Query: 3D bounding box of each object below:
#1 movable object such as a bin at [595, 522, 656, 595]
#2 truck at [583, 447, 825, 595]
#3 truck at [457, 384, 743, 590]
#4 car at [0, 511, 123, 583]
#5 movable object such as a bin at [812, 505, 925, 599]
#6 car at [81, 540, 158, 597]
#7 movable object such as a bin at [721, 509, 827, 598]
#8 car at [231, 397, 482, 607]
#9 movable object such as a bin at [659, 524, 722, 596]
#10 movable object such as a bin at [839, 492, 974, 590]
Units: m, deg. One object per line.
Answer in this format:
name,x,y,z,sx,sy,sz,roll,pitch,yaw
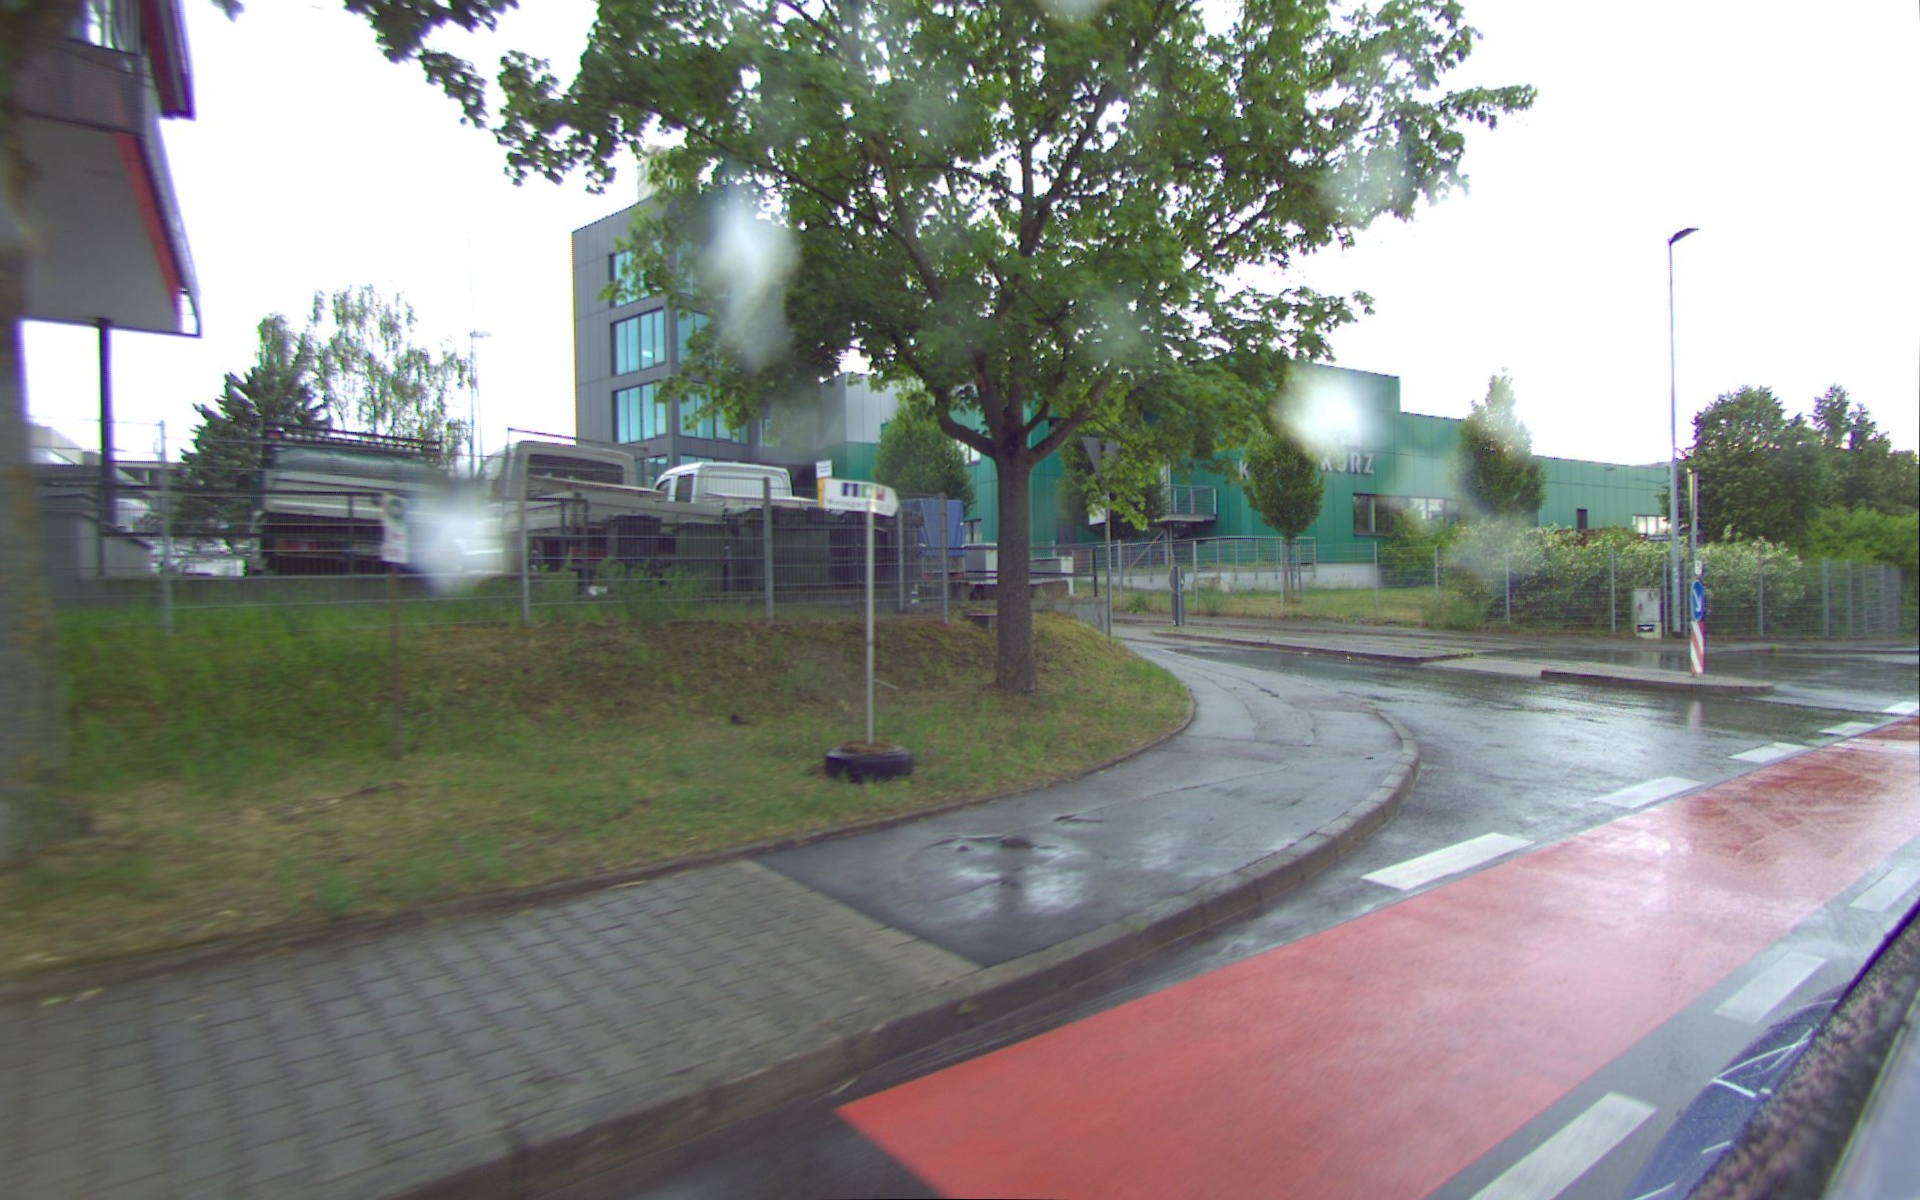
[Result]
movable object such as a bin,-3.810,-0.470,11.520,0.513,0.811,0.539,0,2,-37
truck,-4.805,-1.320,18.249,2.074,2.241,5.649,0,2,-38
truck,-5.204,-1.357,14.184,2.211,2.371,4.830,0,1,-41
car,-20.227,-1.160,22.229,2.669,1.464,1.679,1,2,-35
movable object such as a bin,-1.224,-0.629,13.471,1.121,1.176,1.027,0,2,-37
car,-28.988,-1.112,34.898,1.965,1.860,3.995,0,3,-40
movable object such as a bin,-2.340,-0.576,12.730,1.033,1.055,0.884,0,2,-35
car,-7.576,-1.064,12.434,2.026,2.038,4.936,0,2,-38
movable object such as a bin,-3.195,-0.476,12.006,0.556,0.827,0.539,0,2,-37
movable object such as a bin,-0.894,-0.963,16.759,1.850,1.519,1.292,3,2,39
